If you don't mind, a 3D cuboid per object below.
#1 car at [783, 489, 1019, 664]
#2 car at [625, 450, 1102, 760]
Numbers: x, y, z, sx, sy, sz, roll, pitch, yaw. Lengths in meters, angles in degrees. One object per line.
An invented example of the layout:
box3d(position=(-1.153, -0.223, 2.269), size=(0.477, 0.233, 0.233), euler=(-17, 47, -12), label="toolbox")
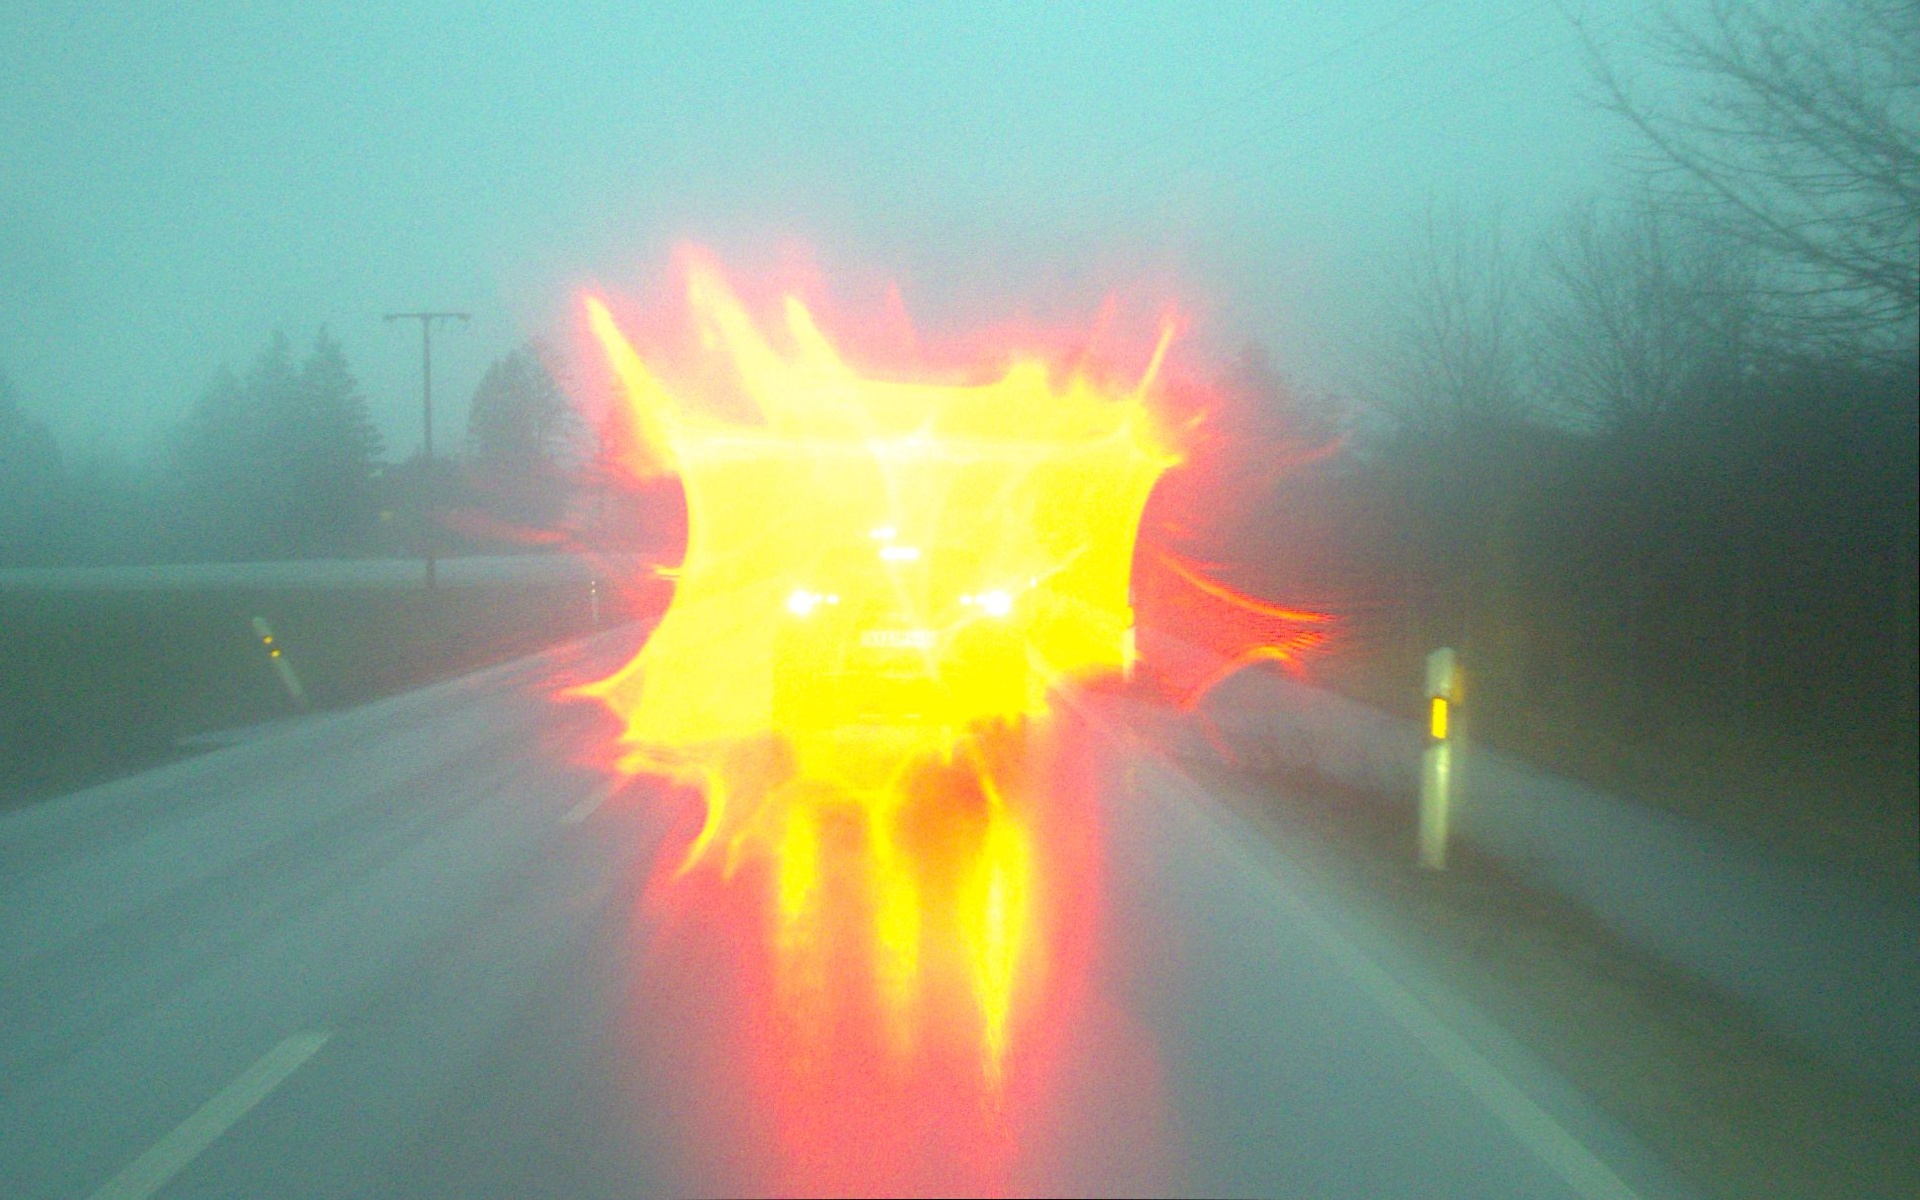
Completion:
box3d(position=(-0.718, -0.356, 43.903), size=(2.756, 2.028, 6.591), euler=(-1, 1, 0), label="car")
box3d(position=(-0.663, -0.047, 26.428), size=(3.164, 2.028, 6.852), euler=(-1, 1, 0), label="car")
